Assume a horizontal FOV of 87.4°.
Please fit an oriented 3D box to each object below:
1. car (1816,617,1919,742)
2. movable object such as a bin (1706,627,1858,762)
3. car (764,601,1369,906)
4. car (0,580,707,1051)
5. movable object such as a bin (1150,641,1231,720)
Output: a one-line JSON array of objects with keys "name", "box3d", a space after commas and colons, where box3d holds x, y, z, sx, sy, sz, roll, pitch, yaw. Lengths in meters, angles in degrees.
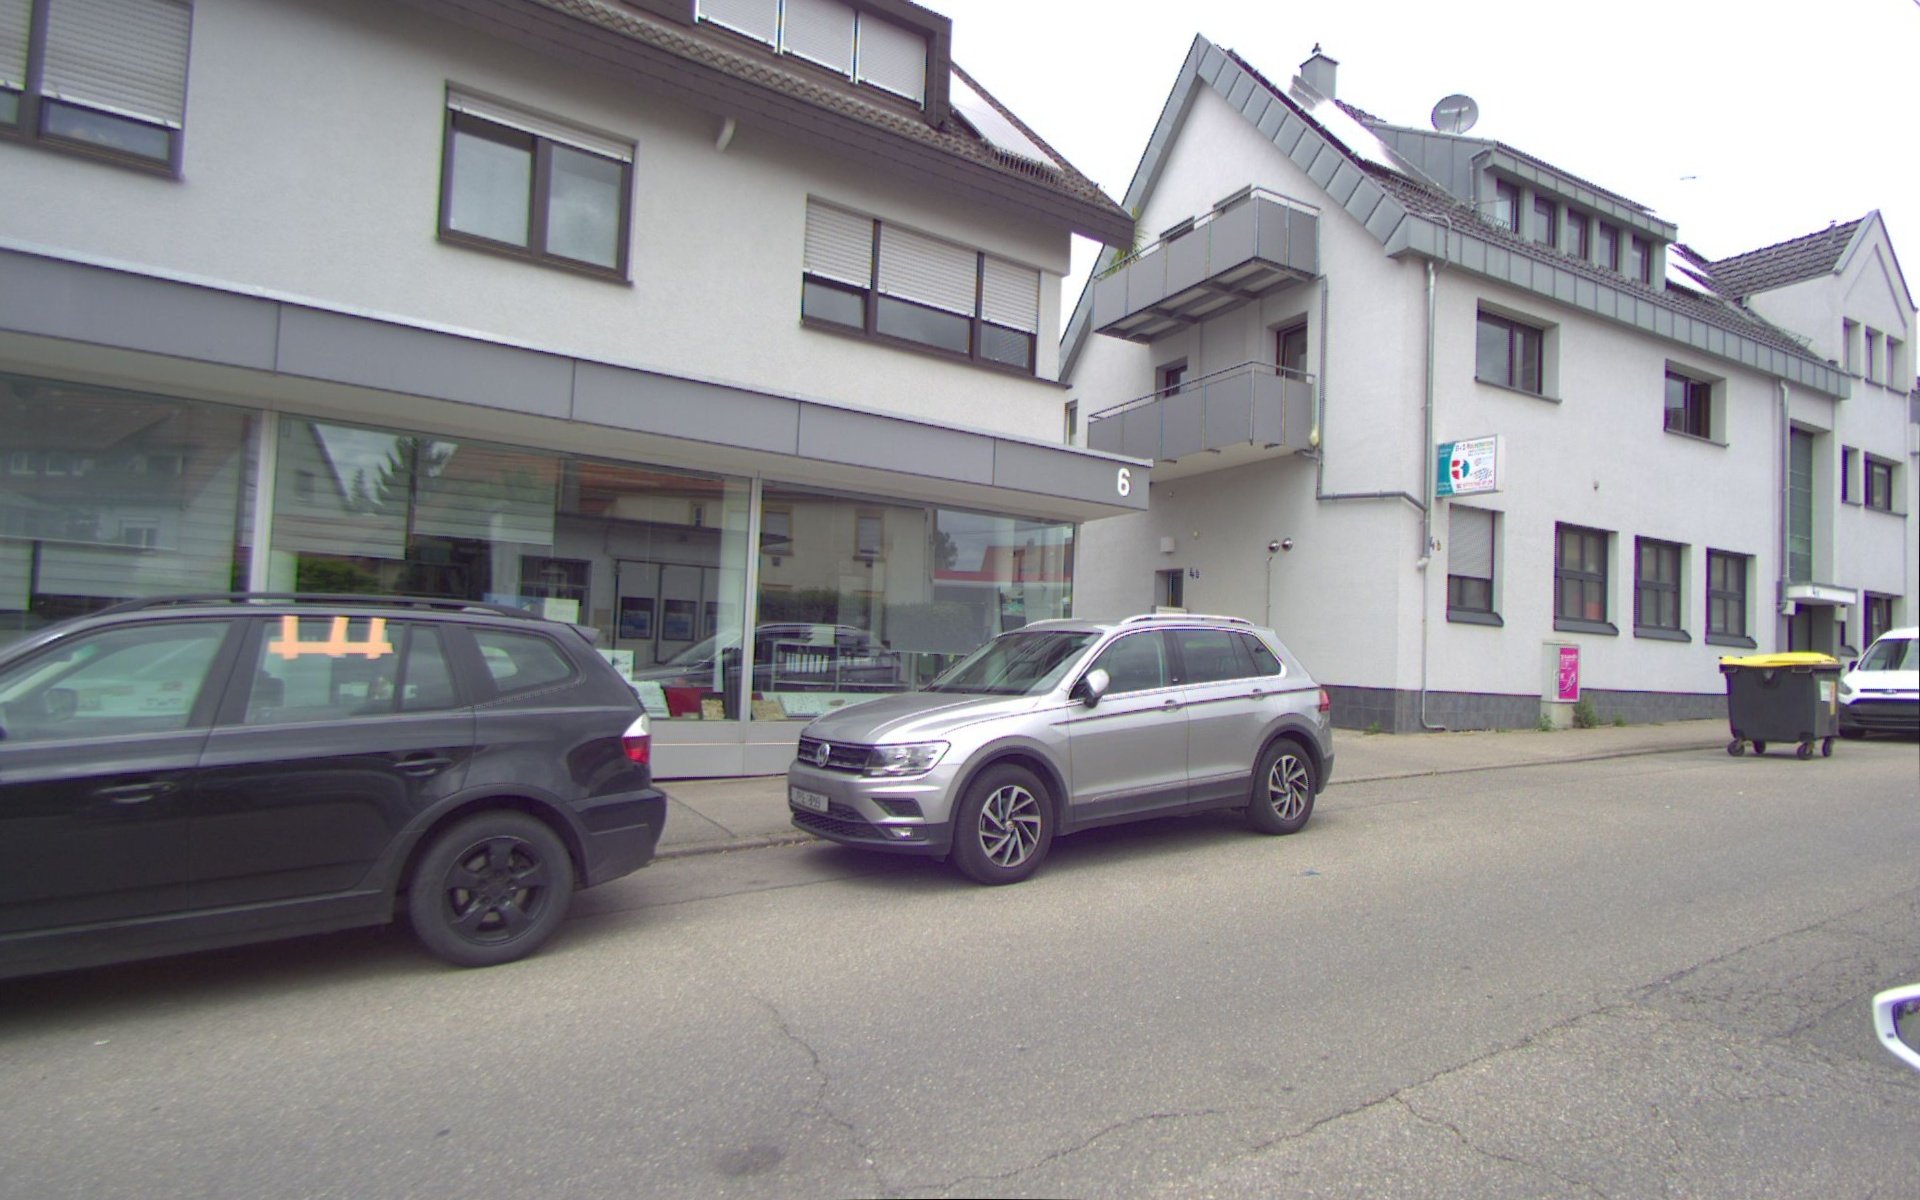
[{"name": "car", "box3d": [15.947, 1.243, 16.280, 4.245, 1.855, 1.726, 1, -4, -29]}, {"name": "movable object such as a bin", "box3d": [10.826, 1.200, 13.236, 1.547, 1.654, 1.133, 1, -3, -35]}, {"name": "car", "box3d": [0.931, 0.918, 7.473, 4.364, 1.654, 1.826, 1, -3, -35]}, {"name": "car", "box3d": [-3.563, 0.810, 4.544, 4.364, 1.654, 1.826, 1, -4, -35]}, {"name": "movable object such as a bin", "box3d": [4.062, 1.403, 17.723, 1.134, 1.317, 0.777, 2, 0, -29]}]
